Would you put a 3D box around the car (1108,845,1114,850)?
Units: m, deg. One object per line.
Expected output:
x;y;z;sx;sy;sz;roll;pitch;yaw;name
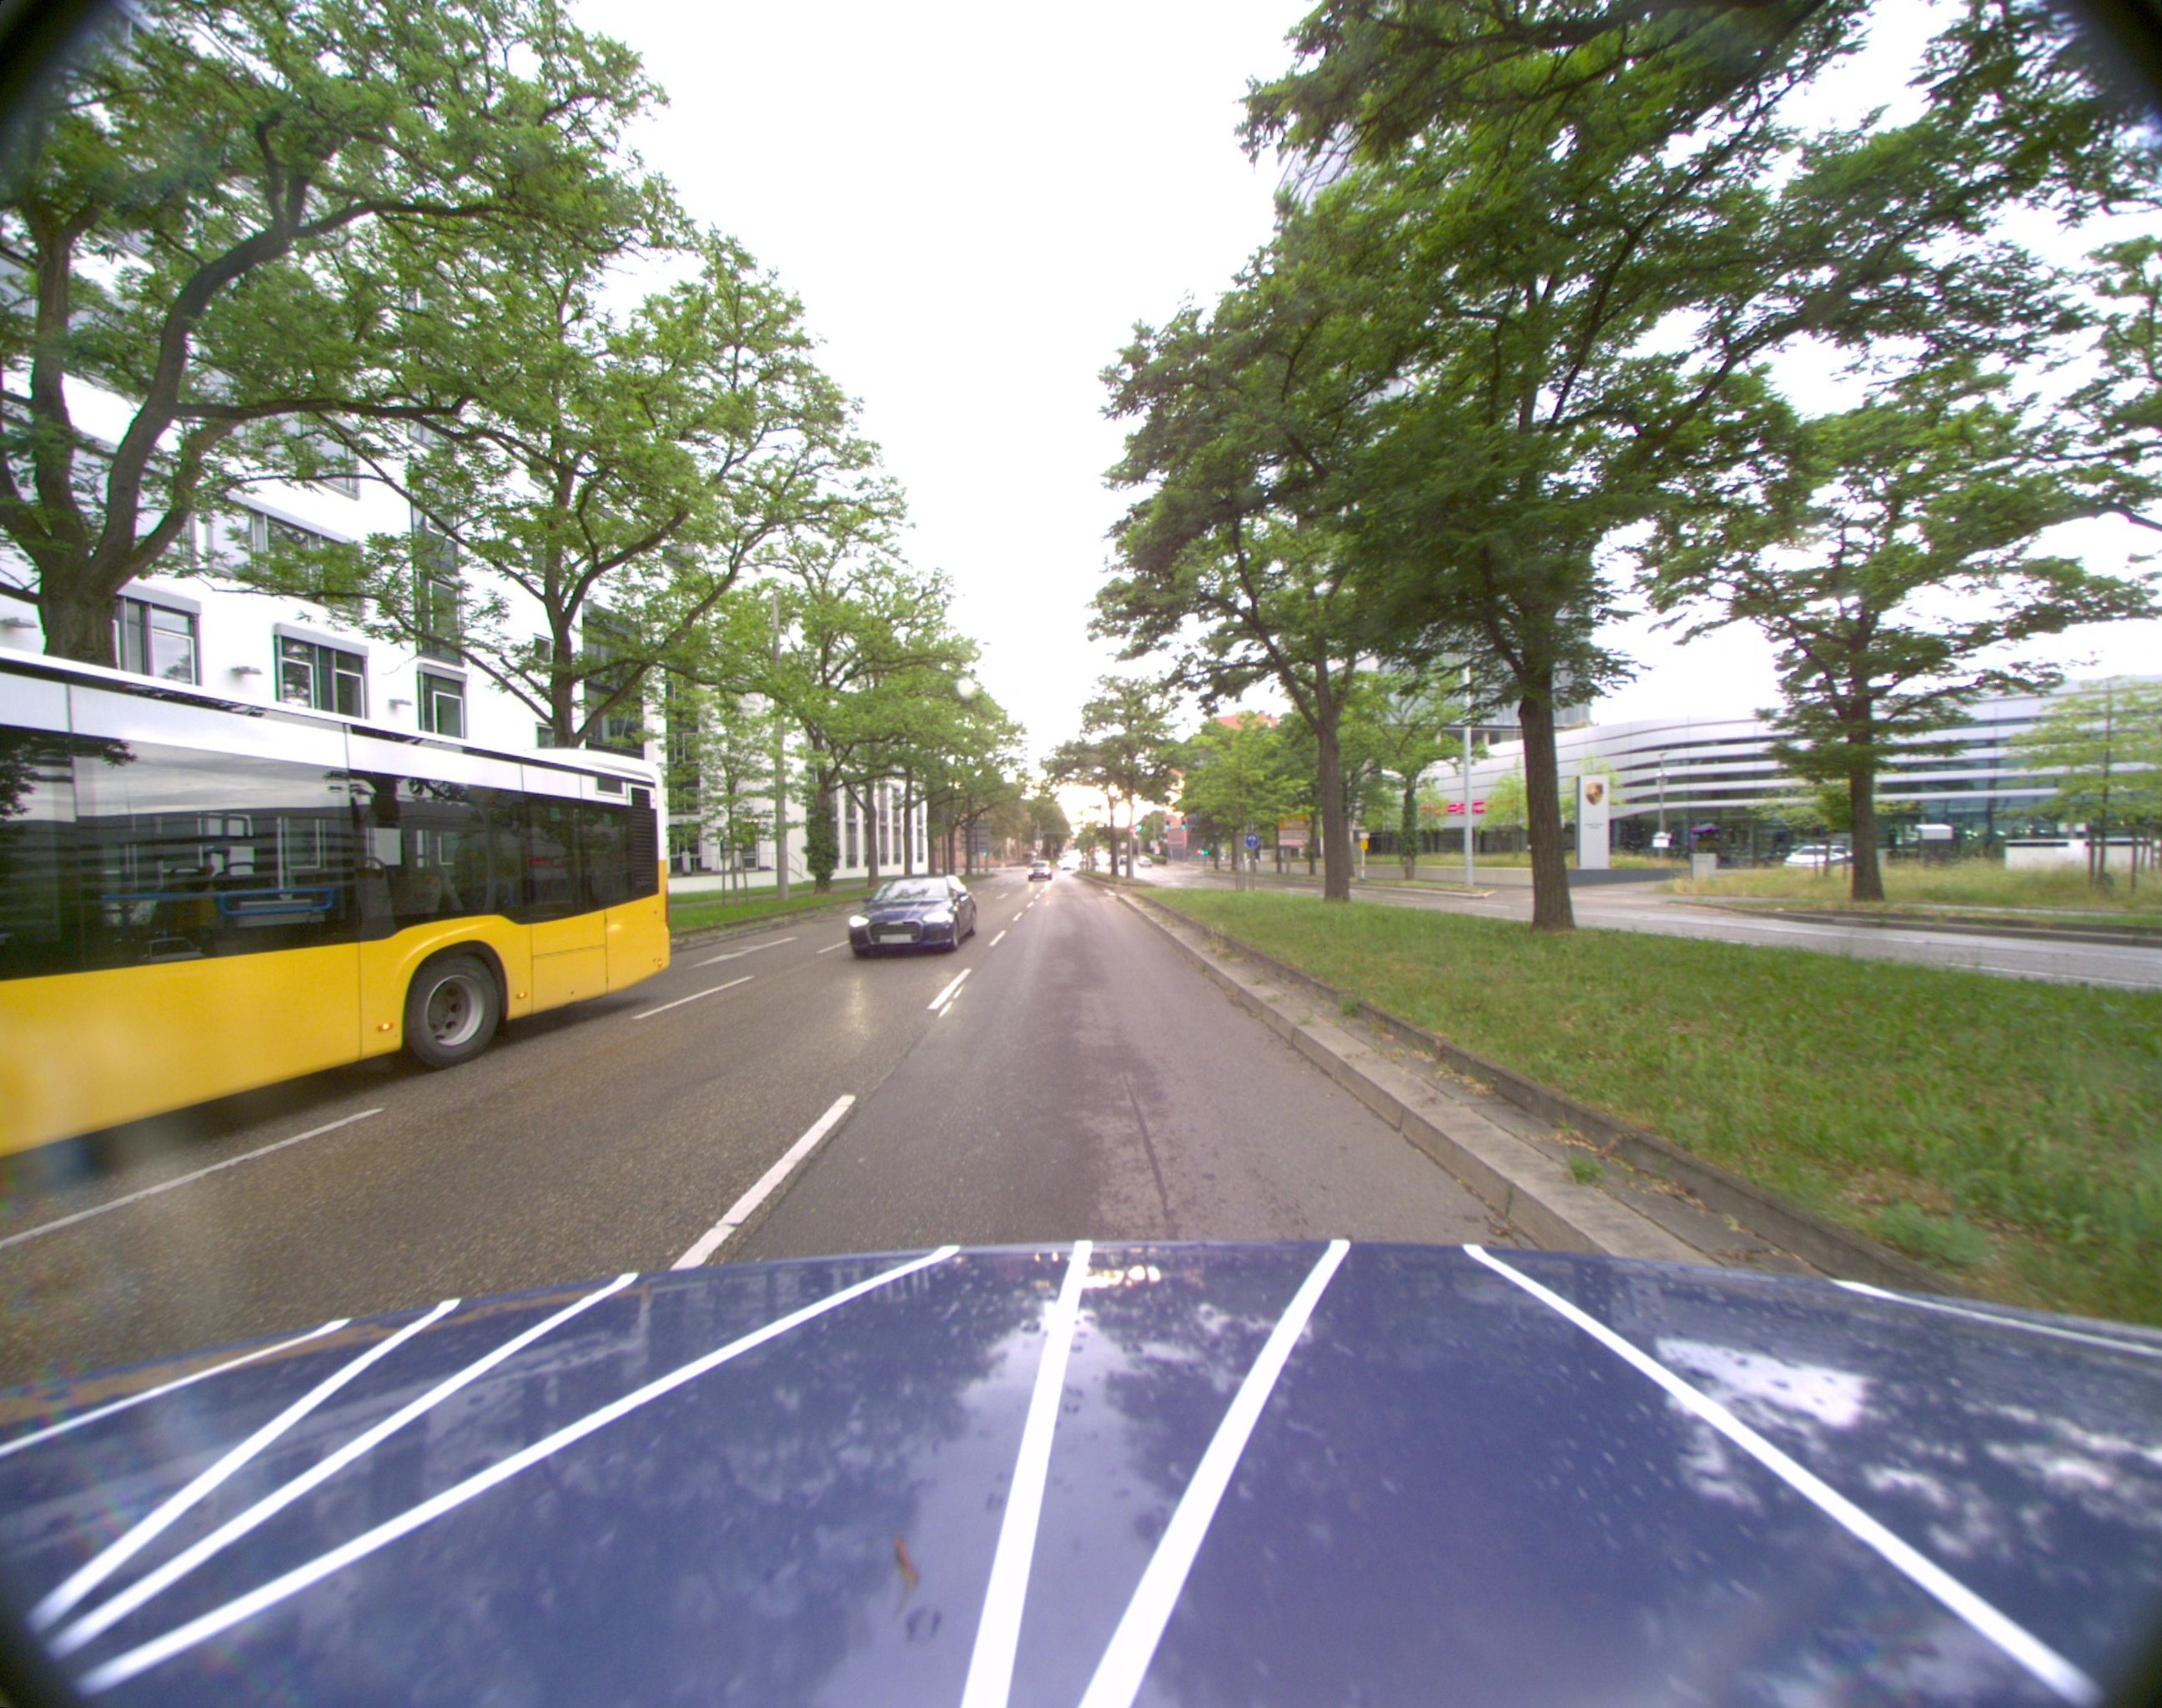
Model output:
10.182;-2.278;256.240;1.783;1.445;3.998;-3;1;-2;car

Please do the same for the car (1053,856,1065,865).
-3.843;1.124;132.558;1.998;1.576;4.000;-1;0;1;car

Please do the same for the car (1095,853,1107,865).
3.379;0.845;131.676;1.998;2.002;4.000;-1;0;1;car

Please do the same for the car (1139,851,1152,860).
11.907;0.290;139.642;1.783;1.445;3.998;-3;1;-2;car

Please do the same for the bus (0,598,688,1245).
-6.607;0.377;3.793;2.734;3.133;12.146;-3;0;1;bus

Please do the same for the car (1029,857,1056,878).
-2.904;1.038;58.513;1.625;1.426;3.551;-3;1;3;car

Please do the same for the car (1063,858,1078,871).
-1.466;1.502;109.007;1.998;1.707;4.000;-1;0;1;car

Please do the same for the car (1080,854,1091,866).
0.838;1.086;139.868;1.931;2.002;4.000;-1;0;1;car

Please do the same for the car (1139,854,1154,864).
10.513;0.815;122.296;1.894;1.445;3.998;-3;1;-2;car

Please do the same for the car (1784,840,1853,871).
39.070;0.081;40.231;4.006;1.405;1.774;-4;1;-33;car

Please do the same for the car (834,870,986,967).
-3.092;1.116;14.711;1.878;1.346;4.331;-3;1;0;car

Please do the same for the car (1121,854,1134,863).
8.469;0.823;137.985;1.846;1.581;4.172;0;1;-2;car

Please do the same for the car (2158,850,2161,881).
48.918;0.397;33.105;4.004;1.316;1.617;-3;1;-25;car
